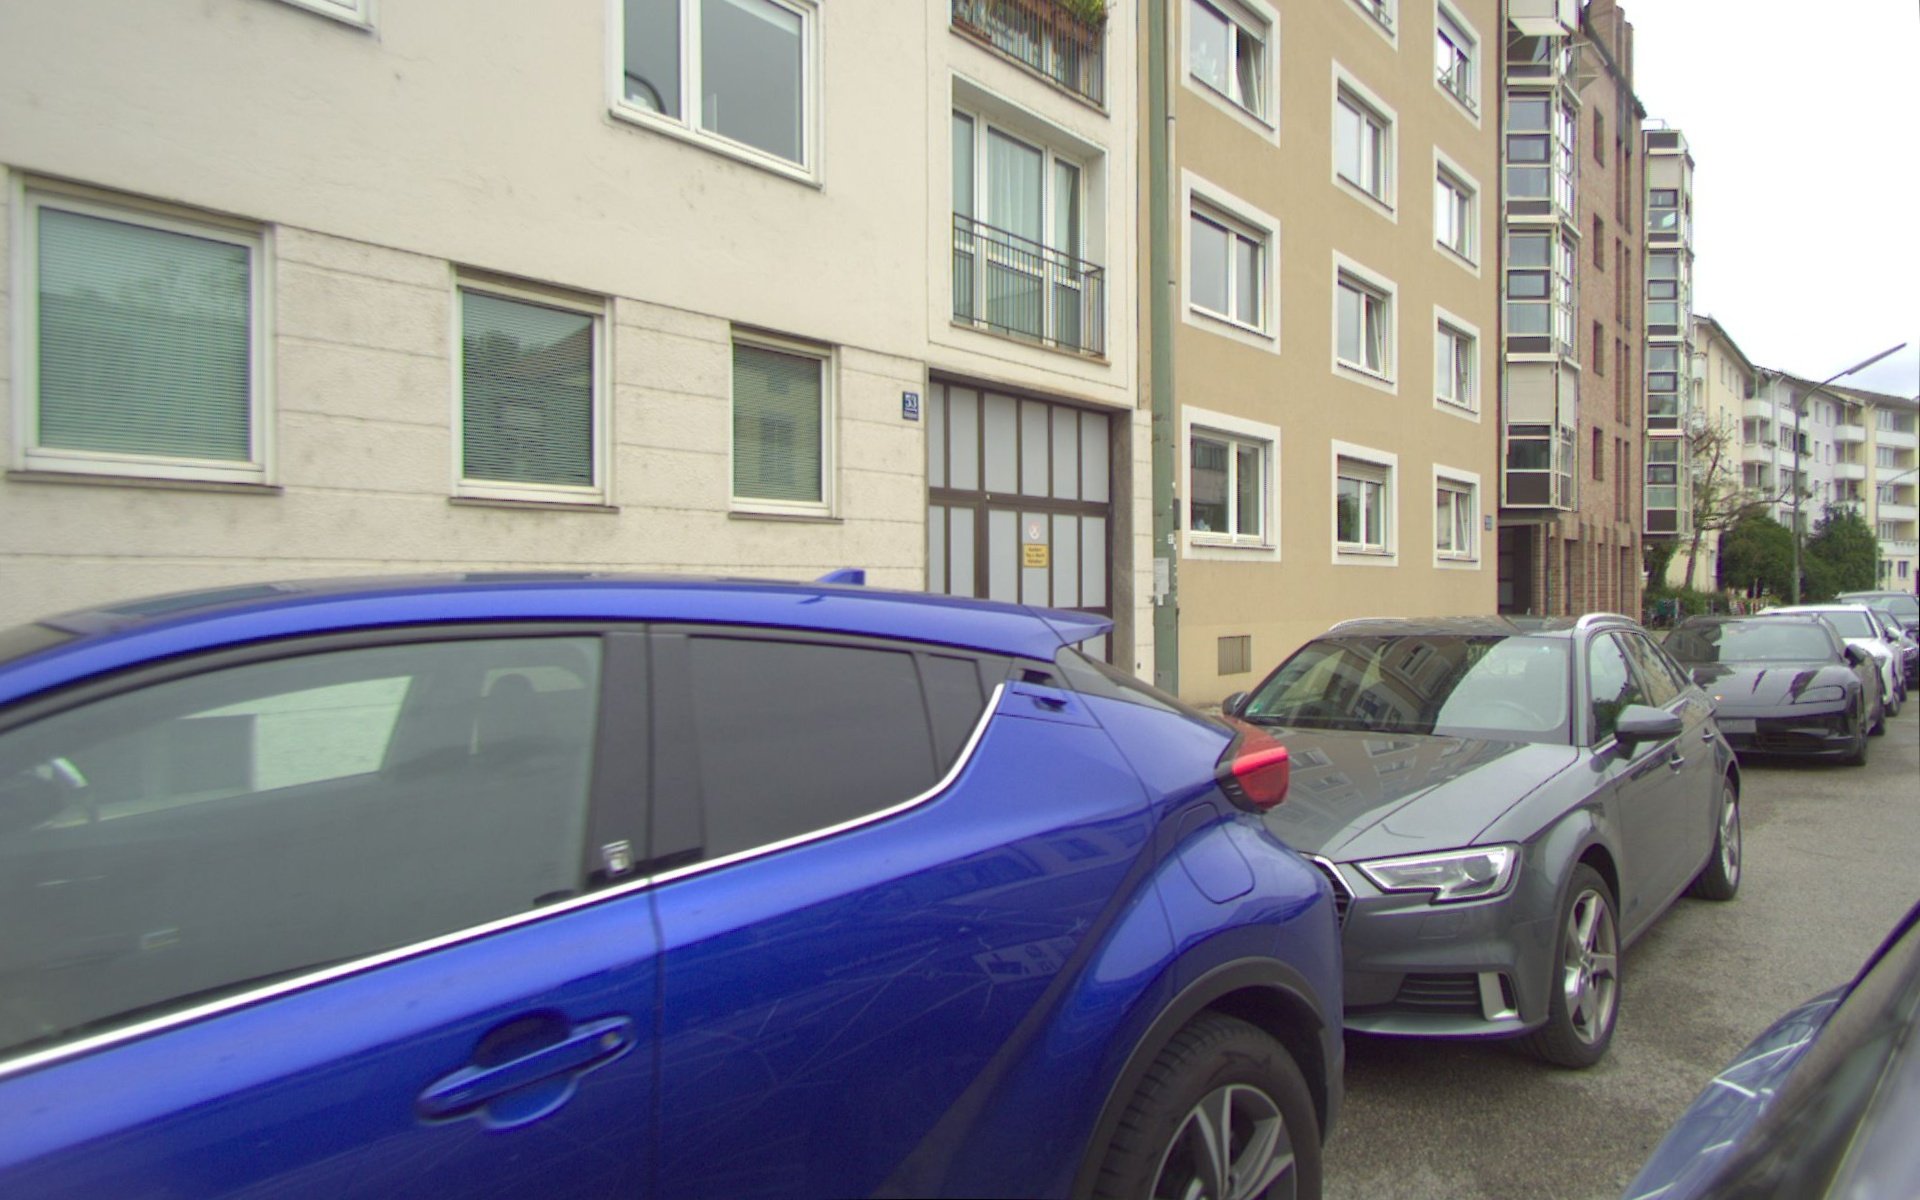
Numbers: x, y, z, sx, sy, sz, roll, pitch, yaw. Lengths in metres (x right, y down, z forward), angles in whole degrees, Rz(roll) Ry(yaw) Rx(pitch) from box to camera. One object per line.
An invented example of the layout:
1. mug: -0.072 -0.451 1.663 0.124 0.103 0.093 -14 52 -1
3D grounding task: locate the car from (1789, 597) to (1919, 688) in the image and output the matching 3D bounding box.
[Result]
1. car: 16.347 0.718 18.306 1.756 1.383 4.707 -5 -3 42

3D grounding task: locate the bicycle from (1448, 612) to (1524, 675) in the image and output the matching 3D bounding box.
1. bicycle: 9.491 0.758 18.240 1.723 1.046 0.677 0 1 -43

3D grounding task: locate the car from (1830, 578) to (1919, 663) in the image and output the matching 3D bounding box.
1. car: 20.114 0.377 21.924 1.876 1.666 4.575 1 1 41

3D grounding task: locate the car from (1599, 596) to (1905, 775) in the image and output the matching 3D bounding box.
1. car: 8.690 0.702 10.906 5.029 1.432 1.956 -1 1 -44

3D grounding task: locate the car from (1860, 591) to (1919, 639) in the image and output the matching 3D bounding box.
1. car: 30.713 0.448 32.698 4.258 1.455 1.880 -1 -2 -41

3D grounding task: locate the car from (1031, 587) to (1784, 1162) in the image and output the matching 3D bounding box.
1. car: 2.424 0.721 4.748 4.329 1.473 1.706 0 -2 -44

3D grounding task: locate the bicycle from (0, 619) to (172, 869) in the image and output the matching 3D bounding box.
1. bicycle: -4.721 0.653 4.414 0.529 1.085 1.970 1 1 42

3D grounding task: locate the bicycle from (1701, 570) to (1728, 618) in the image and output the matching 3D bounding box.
1. bicycle: 32.998 -0.280 44.256 1.960 2.039 0.652 0 1 -45

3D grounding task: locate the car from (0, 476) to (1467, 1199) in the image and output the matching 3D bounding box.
1. car: -1.129 0.647 1.654 4.464 1.513 1.747 0 0 -38

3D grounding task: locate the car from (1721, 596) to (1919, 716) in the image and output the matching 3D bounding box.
1. car: 12.524 0.666 14.583 1.855 1.432 4.933 0 0 45
